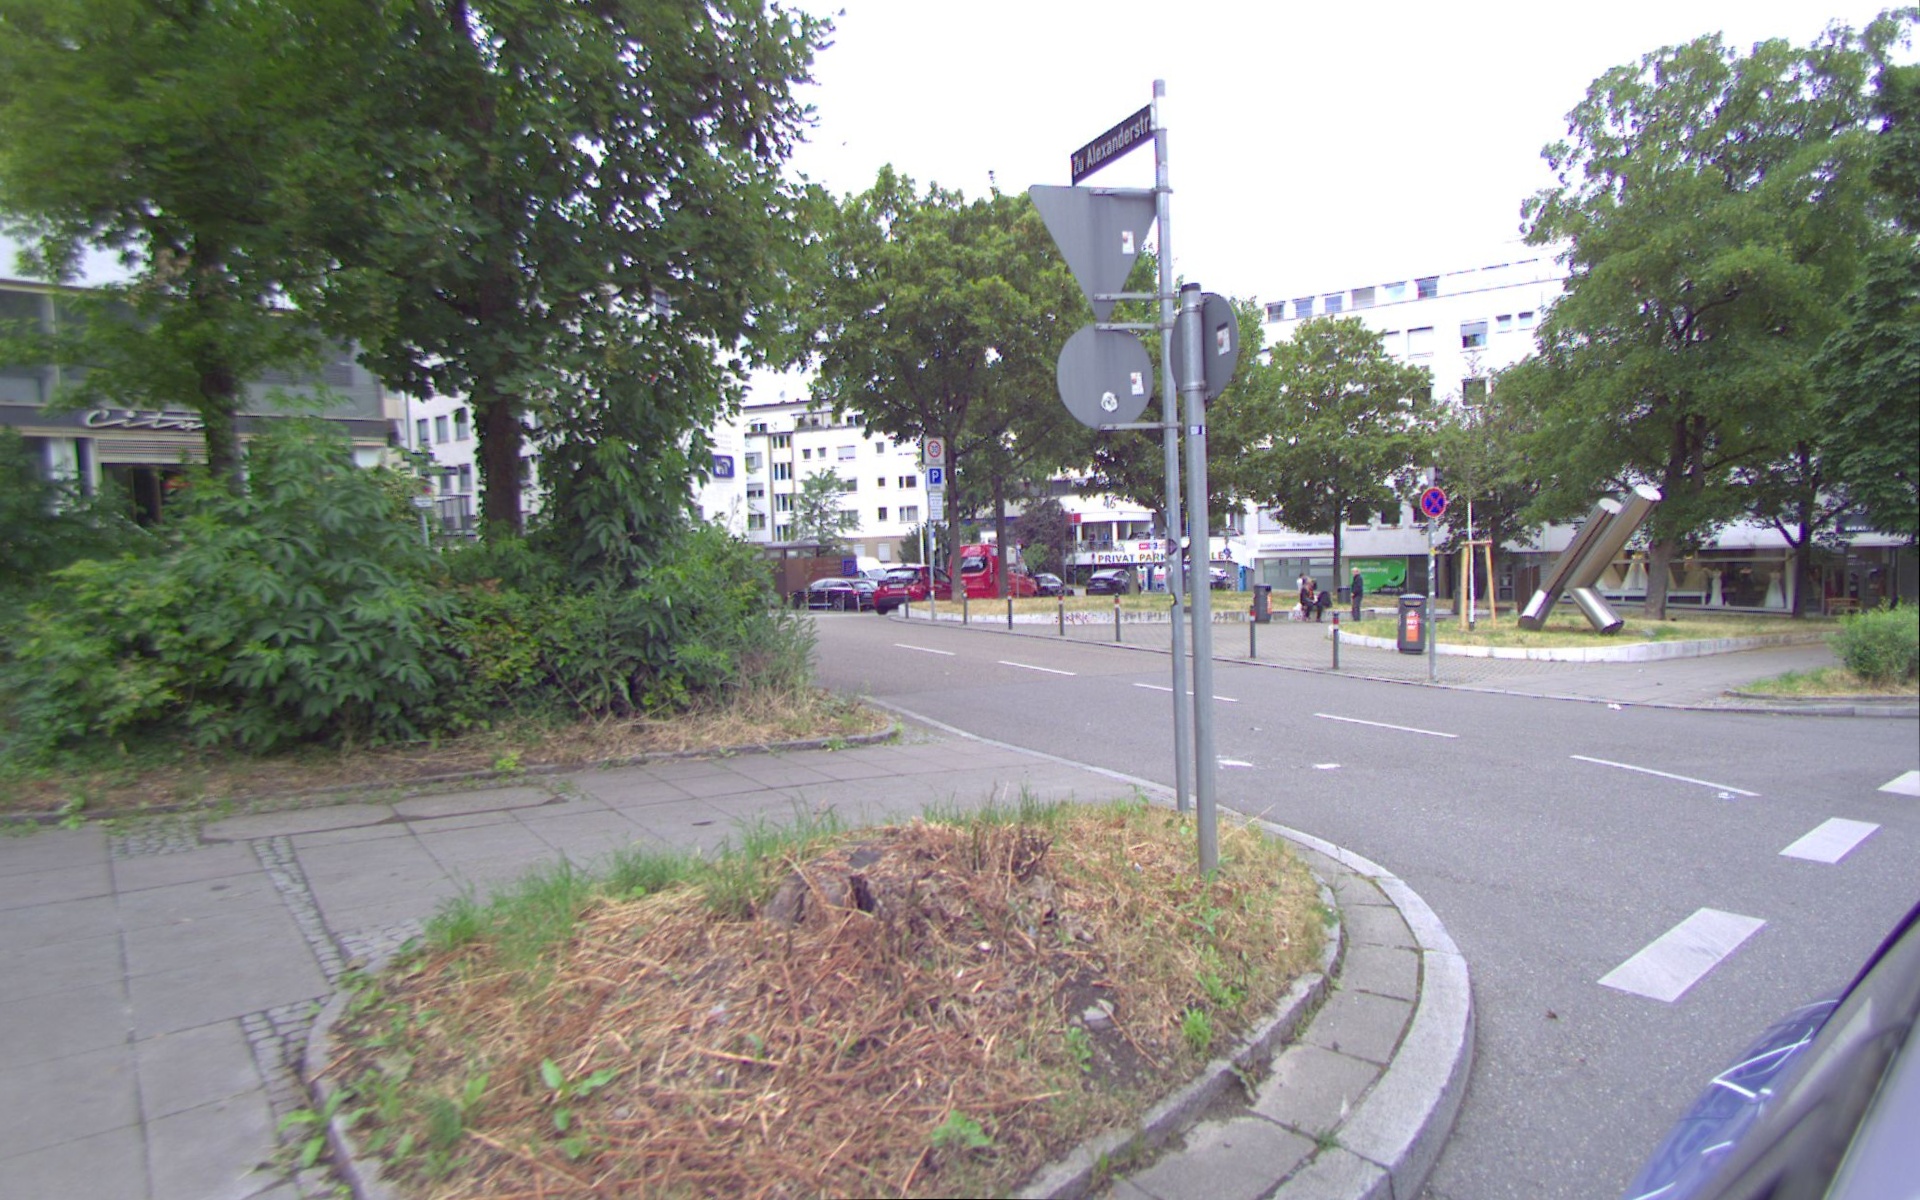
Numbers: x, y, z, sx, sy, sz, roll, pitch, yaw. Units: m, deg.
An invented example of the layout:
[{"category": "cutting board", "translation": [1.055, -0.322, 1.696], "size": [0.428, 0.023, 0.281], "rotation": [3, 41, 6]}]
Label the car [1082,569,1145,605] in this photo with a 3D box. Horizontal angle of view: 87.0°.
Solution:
[{"category": "car", "translation": [8.021, -0.693, 52.458], "size": [1.979, 1.762, 4.744], "rotation": [1, 2, 25]}]

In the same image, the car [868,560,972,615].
[{"category": "car", "translation": [-1.175, -0.405, 31.453], "size": [1.731, 1.584, 3.686], "rotation": [1, 2, 25]}]

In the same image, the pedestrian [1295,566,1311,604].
[{"category": "pedestrian", "translation": [14.351, -0.626, 42.382], "size": [0.520, 1.552, 0.672], "rotation": [1, 1, 12]}]

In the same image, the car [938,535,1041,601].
[{"category": "car", "translation": [1.162, -1.152, 36.889], "size": [2.103, 2.240, 4.856], "rotation": [1, 2, 23]}]

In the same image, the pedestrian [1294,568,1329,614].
[{"category": "pedestrian", "translation": [10.128, -0.274, 29.127], "size": [0.671, 1.308, 0.657], "rotation": [0, 1, -29]}]

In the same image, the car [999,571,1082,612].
[{"category": "car", "translation": [3.372, -0.383, 41.663], "size": [1.979, 1.584, 4.378], "rotation": [1, 2, 25]}]

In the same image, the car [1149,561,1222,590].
[{"category": "car", "translation": [14.010, -1.536, 62.941], "size": [3.986, 1.738, 1.969], "rotation": [2, 2, 43]}]

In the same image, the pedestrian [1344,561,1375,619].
[{"category": "pedestrian", "translation": [11.384, -0.304, 28.808], "size": [0.720, 1.622, 0.785], "rotation": [1, 1, 29]}]

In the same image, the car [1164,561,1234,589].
[{"category": "car", "translation": [15.478, -1.627, 65.654], "size": [3.986, 1.738, 1.969], "rotation": [2, 2, 43]}]

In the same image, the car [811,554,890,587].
[{"category": "car", "translation": [-6.615, -1.802, 61.019], "size": [4.587, 1.901, 2.075], "rotation": [2, 2, 38]}]

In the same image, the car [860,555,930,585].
[{"category": "car", "translation": [-4.536, -2.097, 70.180], "size": [4.765, 1.969, 2.196], "rotation": [2, 2, 41]}]

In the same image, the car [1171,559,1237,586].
[{"category": "car", "translation": [16.299, -1.820, 67.773], "size": [3.981, 1.708, 1.665], "rotation": [-1, 0, 41]}]
